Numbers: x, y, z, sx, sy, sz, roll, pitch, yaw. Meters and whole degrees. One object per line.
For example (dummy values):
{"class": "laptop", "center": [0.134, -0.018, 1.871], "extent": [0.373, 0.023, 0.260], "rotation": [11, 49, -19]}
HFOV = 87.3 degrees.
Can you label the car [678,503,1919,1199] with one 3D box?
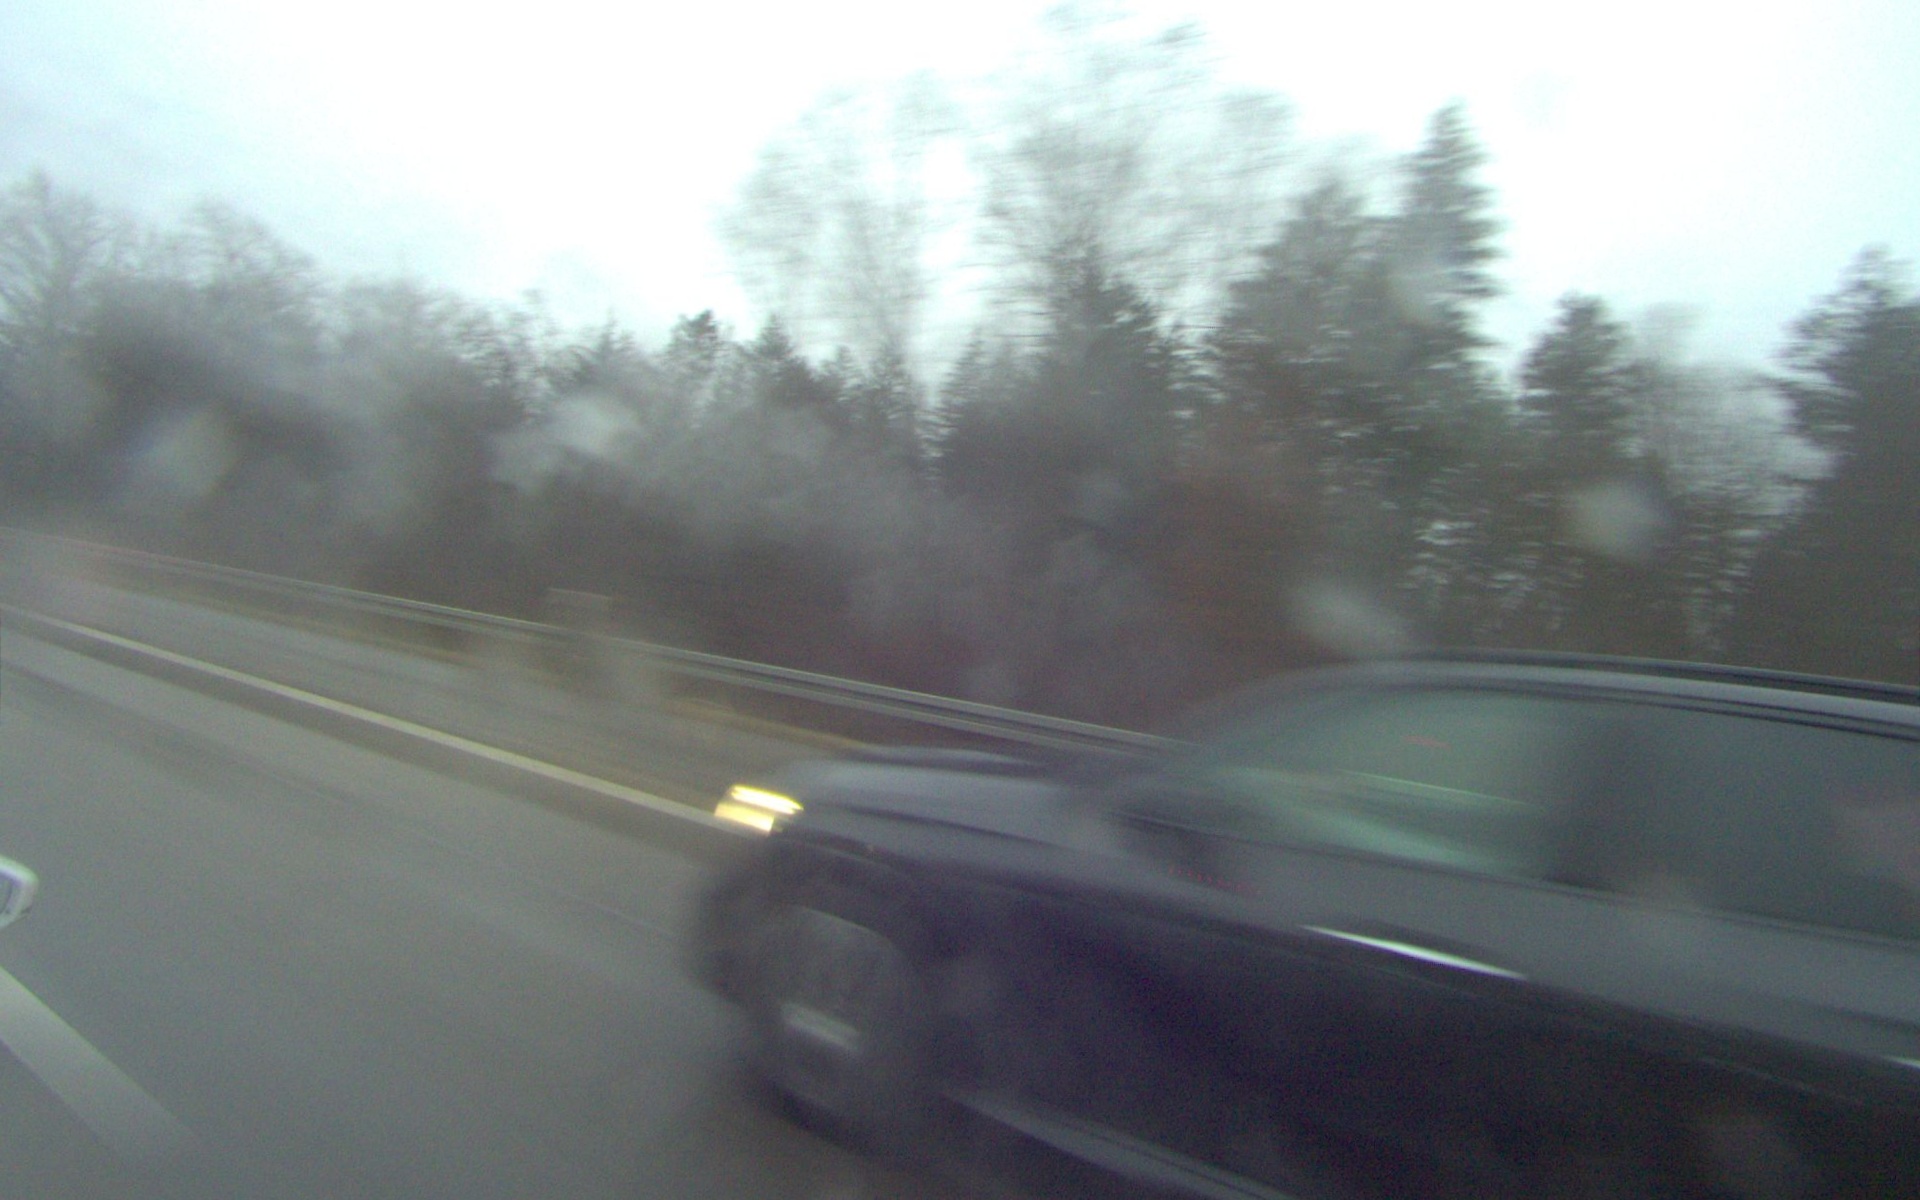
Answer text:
{"class": "car", "center": [1.381, 0.875, 2.871], "extent": [3.875, 1.812, 1.928], "rotation": [6, -2, 32]}
